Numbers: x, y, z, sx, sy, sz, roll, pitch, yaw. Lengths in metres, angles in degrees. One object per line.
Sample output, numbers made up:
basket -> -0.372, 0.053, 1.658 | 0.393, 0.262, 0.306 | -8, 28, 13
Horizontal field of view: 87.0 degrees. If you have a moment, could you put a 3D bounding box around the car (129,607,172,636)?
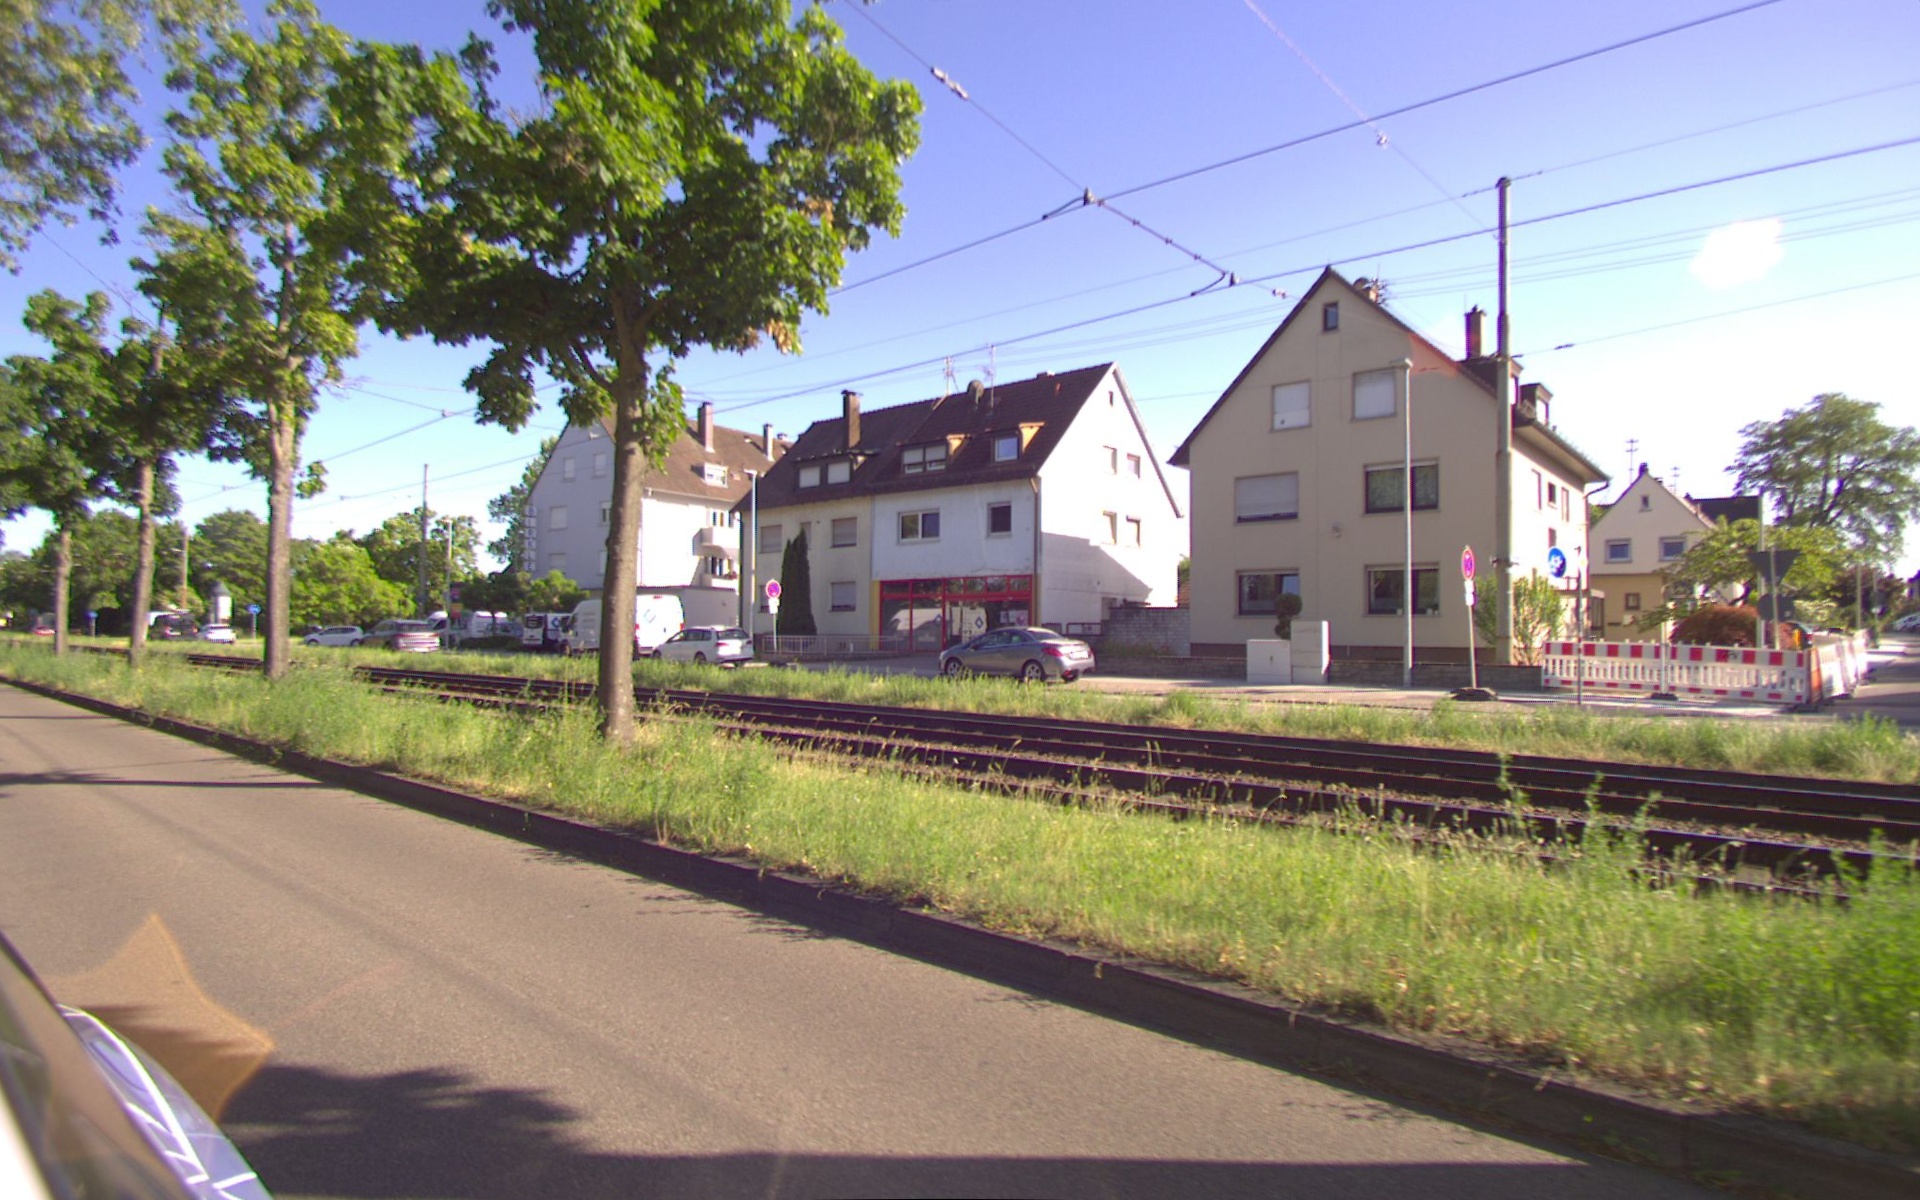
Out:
car -> -73.156, 1.954, 91.416 | 6.133, 2.515, 1.981 | -1, 0, 41

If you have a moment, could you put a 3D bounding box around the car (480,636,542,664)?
car -> -29.566, 3.254, 66.664 | 4.087, 1.683, 1.781 | -1, 0, 32

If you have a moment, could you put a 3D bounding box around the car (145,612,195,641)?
car -> -67.061, 2.212, 85.886 | 6.462, 2.394, 2.160 | -1, 0, 41

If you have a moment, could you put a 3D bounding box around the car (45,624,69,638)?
car -> -110.695, 3.796, 124.070 | 4.530, 1.635, 1.605 | -1, 0, 41

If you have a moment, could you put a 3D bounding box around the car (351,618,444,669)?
car -> -22.522, 1.681, 40.450 | 4.522, 1.897, 1.895 | -1, 0, 42

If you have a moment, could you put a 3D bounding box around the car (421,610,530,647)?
car -> -35.576, 2.070, 74.517 | 2.326, 2.526, 7.002 | -1, -1, 36

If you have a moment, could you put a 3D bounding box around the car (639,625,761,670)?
car -> -9.113, 1.603, 35.251 | 4.655, 1.423, 1.806 | -1, 0, 41

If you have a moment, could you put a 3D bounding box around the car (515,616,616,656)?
car -> -20.107, 1.796, 51.783 | 1.992, 1.960, 4.585 | -1, -1, 30

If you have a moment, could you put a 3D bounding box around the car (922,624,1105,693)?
car -> 1.313, 1.452, 26.193 | 4.496, 1.593, 1.972 | -2, -1, 42

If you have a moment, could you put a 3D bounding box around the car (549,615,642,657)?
car -> -18.121, 1.754, 50.500 | 1.992, 1.967, 4.108 | -1, -1, 30

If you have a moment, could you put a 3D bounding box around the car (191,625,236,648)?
car -> -57.118, 2.757, 77.435 | 4.772, 1.619, 1.804 | -1, 0, 42

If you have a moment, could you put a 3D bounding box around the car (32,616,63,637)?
car -> -116.426, 3.401, 129.074 | 6.795, 2.600, 2.202 | -2, -1, 41

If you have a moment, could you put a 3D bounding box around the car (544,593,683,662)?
car -> -13.482, 1.003, 39.080 | 6.670, 2.478, 1.973 | -1, 0, 41

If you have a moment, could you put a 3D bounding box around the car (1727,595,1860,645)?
car -> 35.742, 0.817, 43.457 | 4.334, 2.029, 1.972 | -1, 0, 42

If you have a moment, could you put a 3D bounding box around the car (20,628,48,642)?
car -> -94.833, 3.565, 103.602 | 3.998, 1.420, 1.659 | -1, -2, 41

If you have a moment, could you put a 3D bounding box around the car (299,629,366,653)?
car -> -40.770, 2.644, 65.838 | 3.563, 1.489, 1.756 | 1, -2, -29
